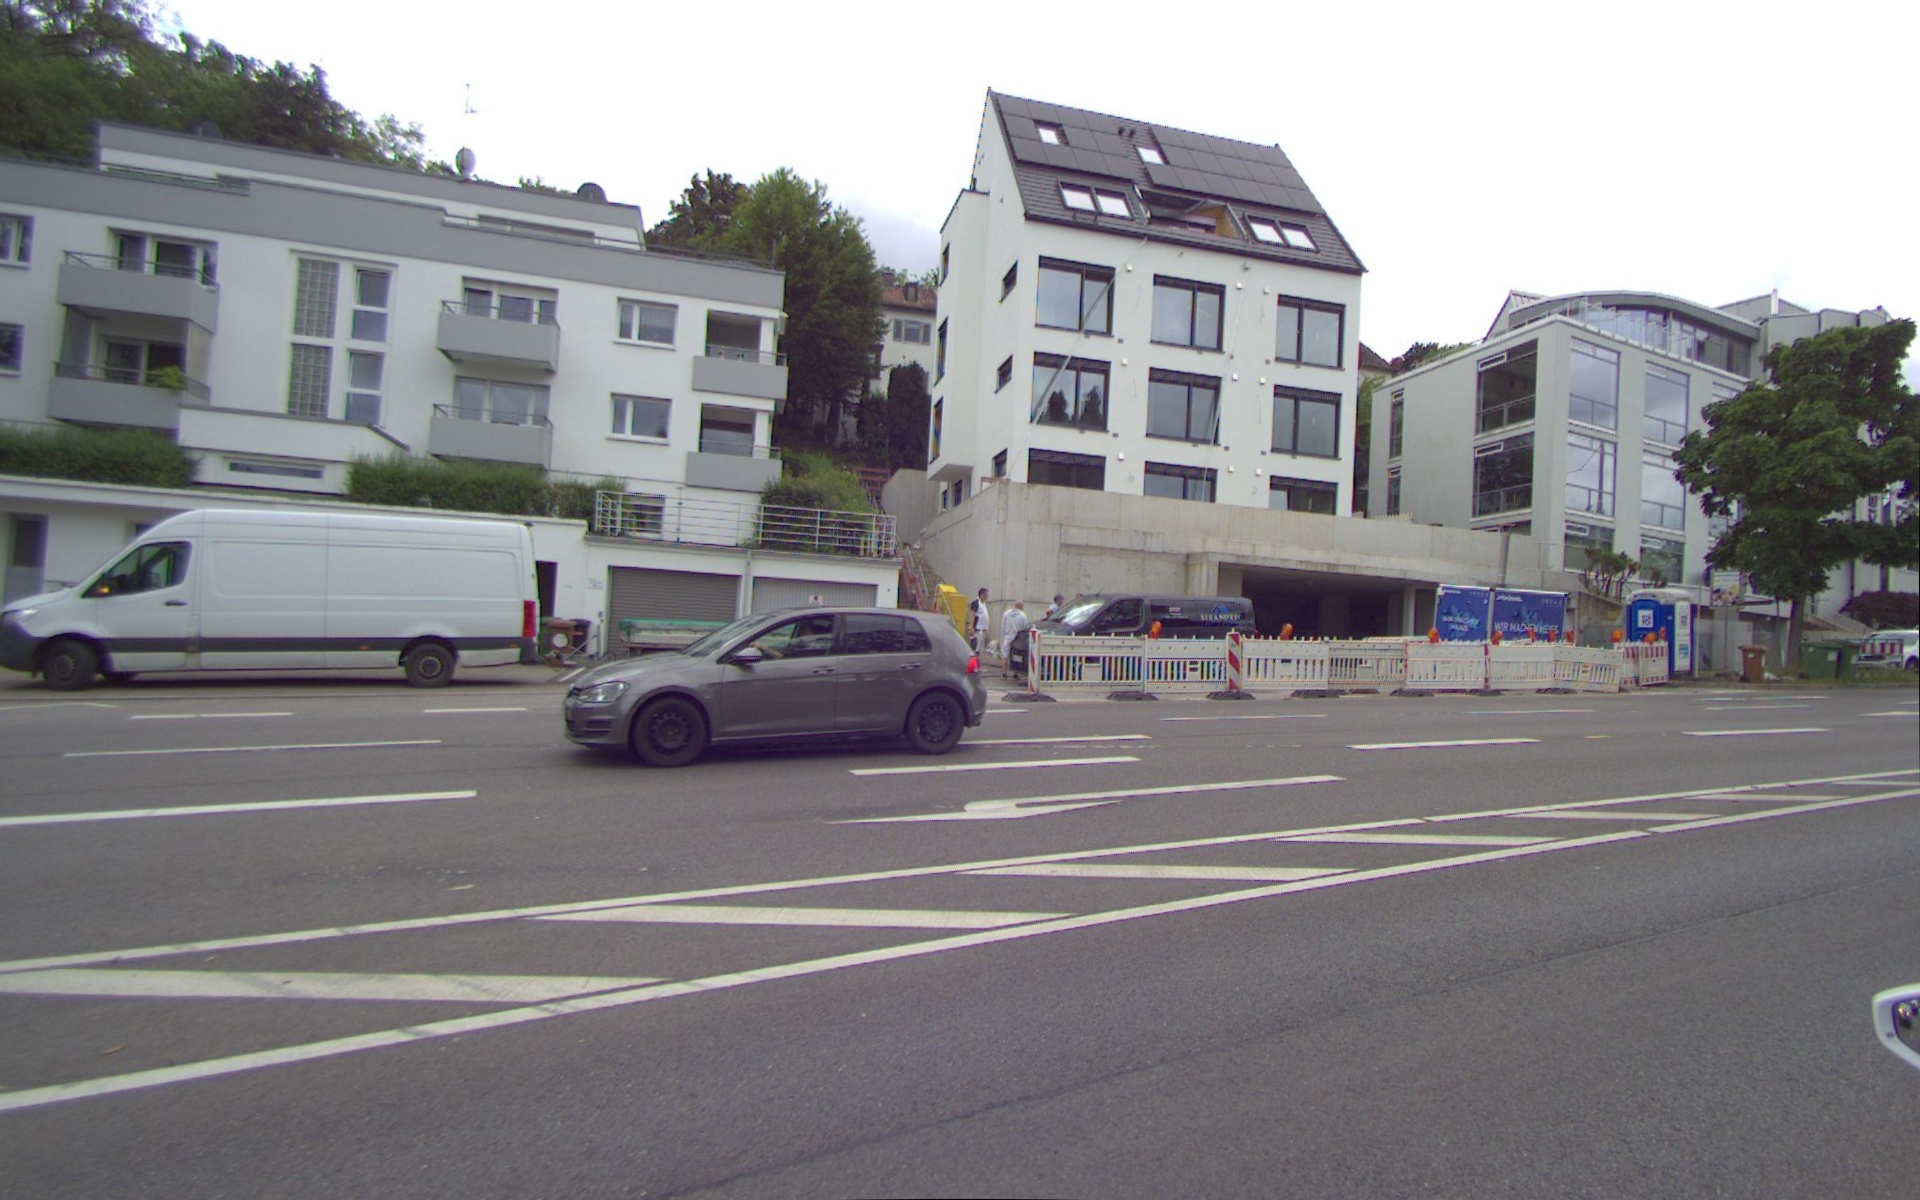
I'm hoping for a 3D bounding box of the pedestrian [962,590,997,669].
[{"bbox_3d":[0.430,0.636,21.940,0.659,1.662,0.627,2,1,-3],"label":"pedestrian"}]

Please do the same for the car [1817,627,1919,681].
[{"bbox_3d":[28.192,1.613,30.325,4.242,1.518,1.767,1,-1,-22],"label":"car"}]

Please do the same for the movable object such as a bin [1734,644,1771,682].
[{"bbox_3d":[19.636,1.548,24.890,0.649,0.891,0.645,1,0,34],"label":"movable object such as a bin"}]

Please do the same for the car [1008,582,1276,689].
[{"bbox_3d":[3.739,0.726,20.633,5.141,1.993,1.979,1,-1,-22],"label":"car"}]

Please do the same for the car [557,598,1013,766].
[{"bbox_3d":[-1.763,0.746,10.149,4.225,1.412,1.838,1,-1,-24],"label":"car"}]

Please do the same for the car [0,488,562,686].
[{"bbox_3d":[-10.223,-0.086,15.603,7.325,2.602,2.224,2,-1,-27],"label":"car"}]

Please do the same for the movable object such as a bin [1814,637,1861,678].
[{"bbox_3d":[22.465,1.462,25.722,0.649,1.003,0.645,1,0,-16],"label":"movable object such as a bin"}]

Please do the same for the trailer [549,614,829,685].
[{"bbox_3d":[-4.900,0.863,18.193,4.562,1.127,2.239,2,-1,-27],"label":"trailer"}]

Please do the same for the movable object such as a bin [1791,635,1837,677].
[{"bbox_3d":[21.802,1.422,25.642,0.649,1.029,0.645,1,0,-16],"label":"movable object such as a bin"}]

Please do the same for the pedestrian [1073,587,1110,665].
[{"bbox_3d":[2.897,0.568,22.113,0.662,1.662,0.672,2,1,16],"label":"pedestrian"}]

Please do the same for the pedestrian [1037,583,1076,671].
[{"bbox_3d":[2.106,0.578,21.895,0.662,1.865,0.672,2,1,16],"label":"pedestrian"}]

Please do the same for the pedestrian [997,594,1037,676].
[{"bbox_3d":[1.212,0.720,21.169,0.662,1.662,0.672,2,1,16],"label":"pedestrian"}]
